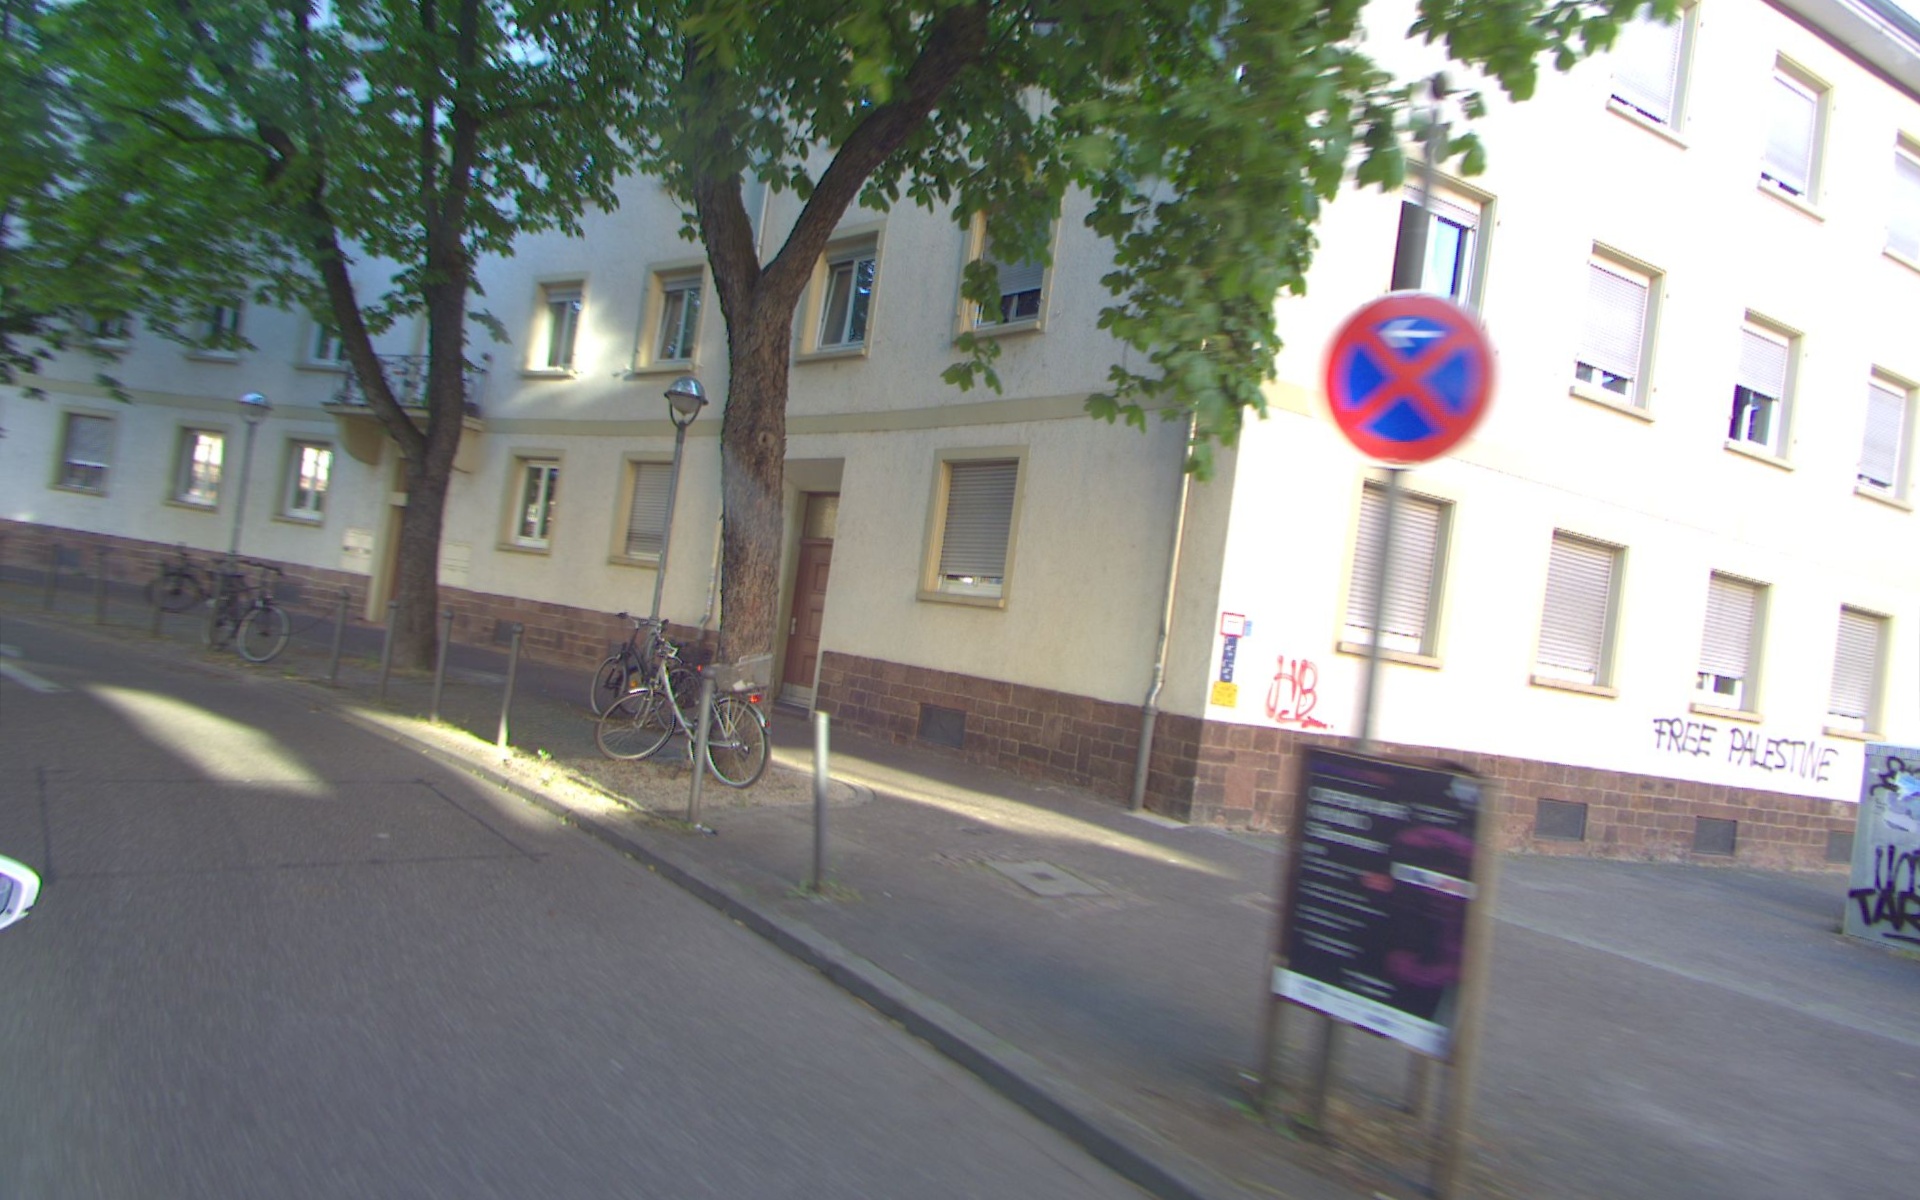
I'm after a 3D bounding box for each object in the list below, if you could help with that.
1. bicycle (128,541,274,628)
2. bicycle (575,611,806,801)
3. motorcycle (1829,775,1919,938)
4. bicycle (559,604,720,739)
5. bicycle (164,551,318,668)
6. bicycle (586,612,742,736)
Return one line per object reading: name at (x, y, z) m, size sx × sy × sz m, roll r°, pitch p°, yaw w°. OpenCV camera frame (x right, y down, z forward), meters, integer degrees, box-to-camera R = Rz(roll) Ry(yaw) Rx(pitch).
bicycle at (-12.342, -0.251, 16.393) m, size 1.788 × 1.197 × 0.673 m, roll 6°, pitch 1°, yaw 1°
bicycle at (-2.166, 0.806, 8.002) m, size 1.760 × 1.196 × 0.555 m, roll 7°, pitch -2°, yaw 30°
motorcycle at (9.200, 2.430, 9.365) m, size 2.161 × 1.294 × 0.970 m, roll 10°, pitch -2°, yaw -31°
bicycle at (-3.455, 0.747, 10.779) m, size 1.755 × 1.194 × 0.438 m, roll 7°, pitch -1°, yaw 30°
bicycle at (-8.739, 0.105, 12.210) m, size 1.967 × 1.172 × 0.681 m, roll 7°, pitch -1°, yaw 31°
bicycle at (-3.314, 0.804, 11.188) m, size 1.772 × 1.122 × 0.392 m, roll 7°, pitch -1°, yaw 28°
